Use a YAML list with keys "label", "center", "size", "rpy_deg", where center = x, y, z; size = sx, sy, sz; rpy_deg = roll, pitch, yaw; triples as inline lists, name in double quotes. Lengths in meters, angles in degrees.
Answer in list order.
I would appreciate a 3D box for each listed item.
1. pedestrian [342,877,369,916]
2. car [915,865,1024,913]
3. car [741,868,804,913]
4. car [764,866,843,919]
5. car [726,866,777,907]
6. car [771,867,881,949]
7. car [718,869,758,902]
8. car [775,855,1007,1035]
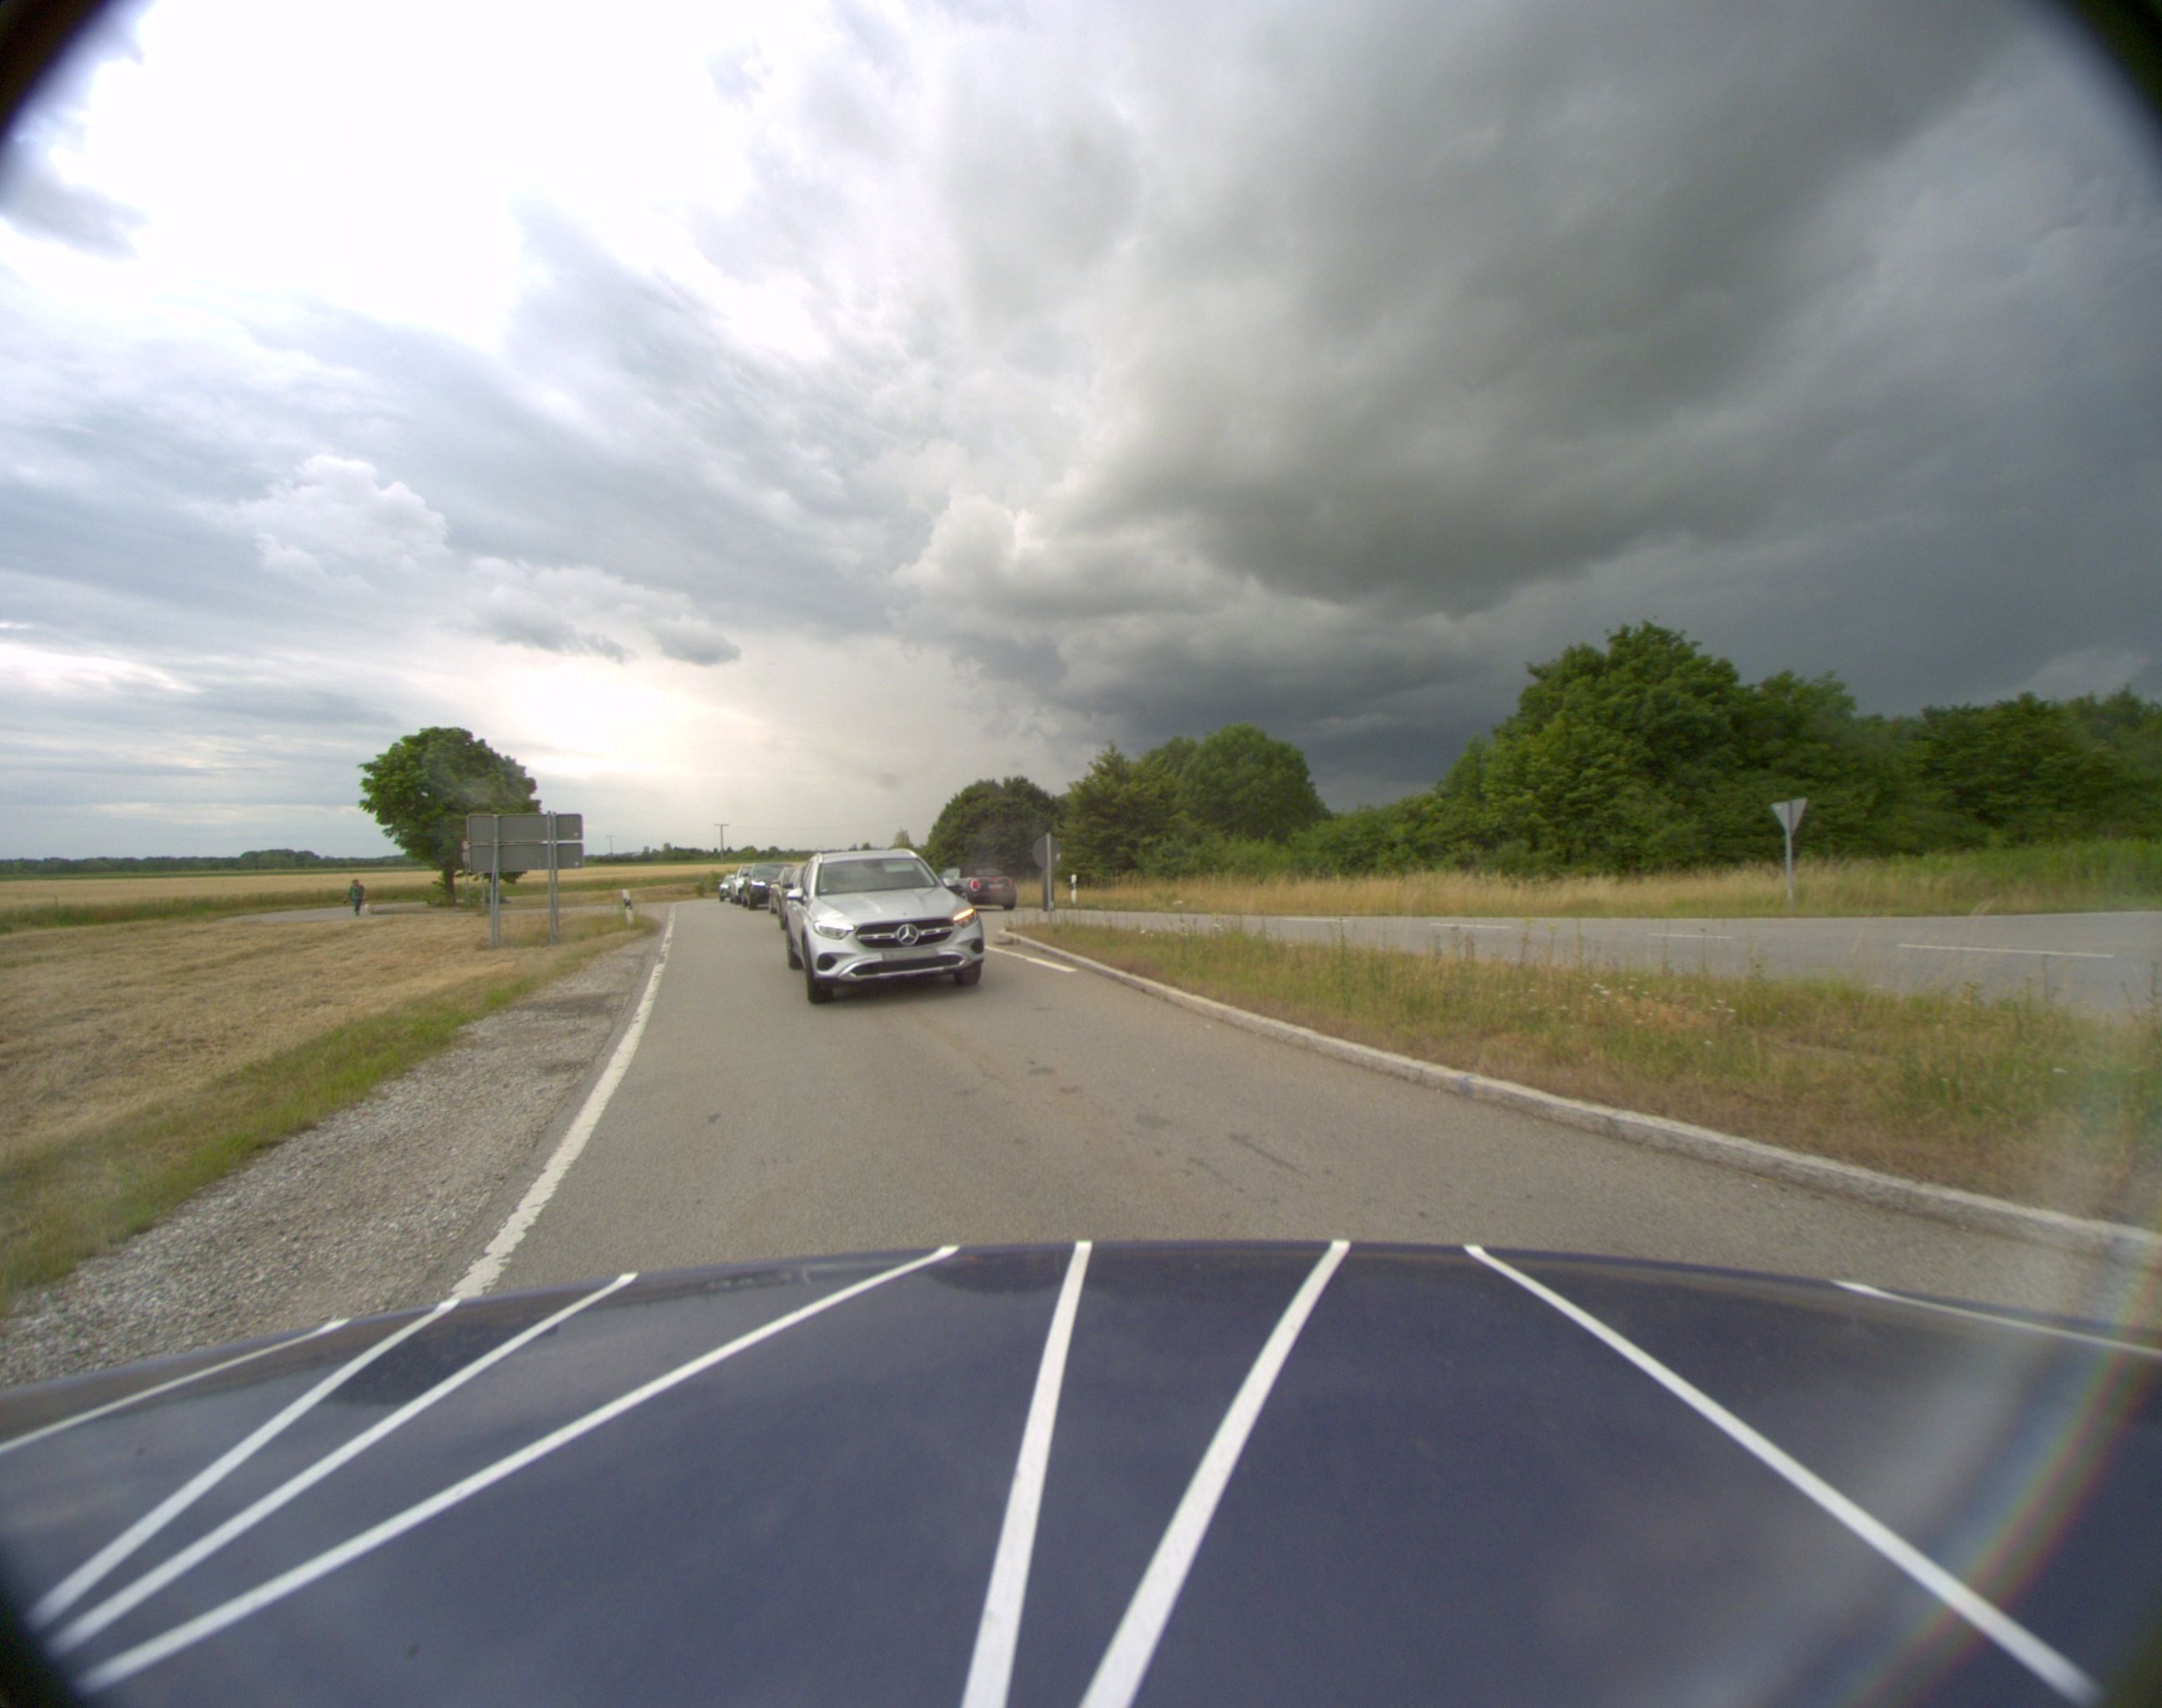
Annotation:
- label: "pedestrian"
  center: [-31.296, 1.820, 32.766]
  size: [0.775, 1.602, 0.942]
  rpy_deg: [-2, 1, -45]
- label: "car"
  center: [-3.633, 1.084, 24.070]
  size: [1.677, 1.344, 4.159]
  rpy_deg: [-1, -1, -35]
- label: "car"
  center: [-11.296, 1.252, 27.684]
  size: [1.724, 1.345, 4.204]
  rpy_deg: [-4, 2, -27]
- label: "car"
  center: [-8.441, 1.085, 22.901]
  size: [1.724, 1.345, 4.204]
  rpy_deg: [-1, 1, -27]
- label: "car"
  center: [-14.621, 1.372, 33.594]
  size: [1.724, 1.486, 4.628]
  rpy_deg: [-4, 2, -27]
- label: "car"
  center: [-5.766, 1.062, 16.796]
  size: [1.724, 1.345, 4.685]
  rpy_deg: [-4, 2, -25]
- label: "car"
  center: [-18.579, 1.658, 41.082]
  size: [1.724, 1.486, 4.204]
  rpy_deg: [-4, 2, -27]
- label: "car"
  center: [-2.623, 0.864, 9.558]
  size: [1.999, 1.577, 4.385]
  rpy_deg: [-4, 2, -24]
